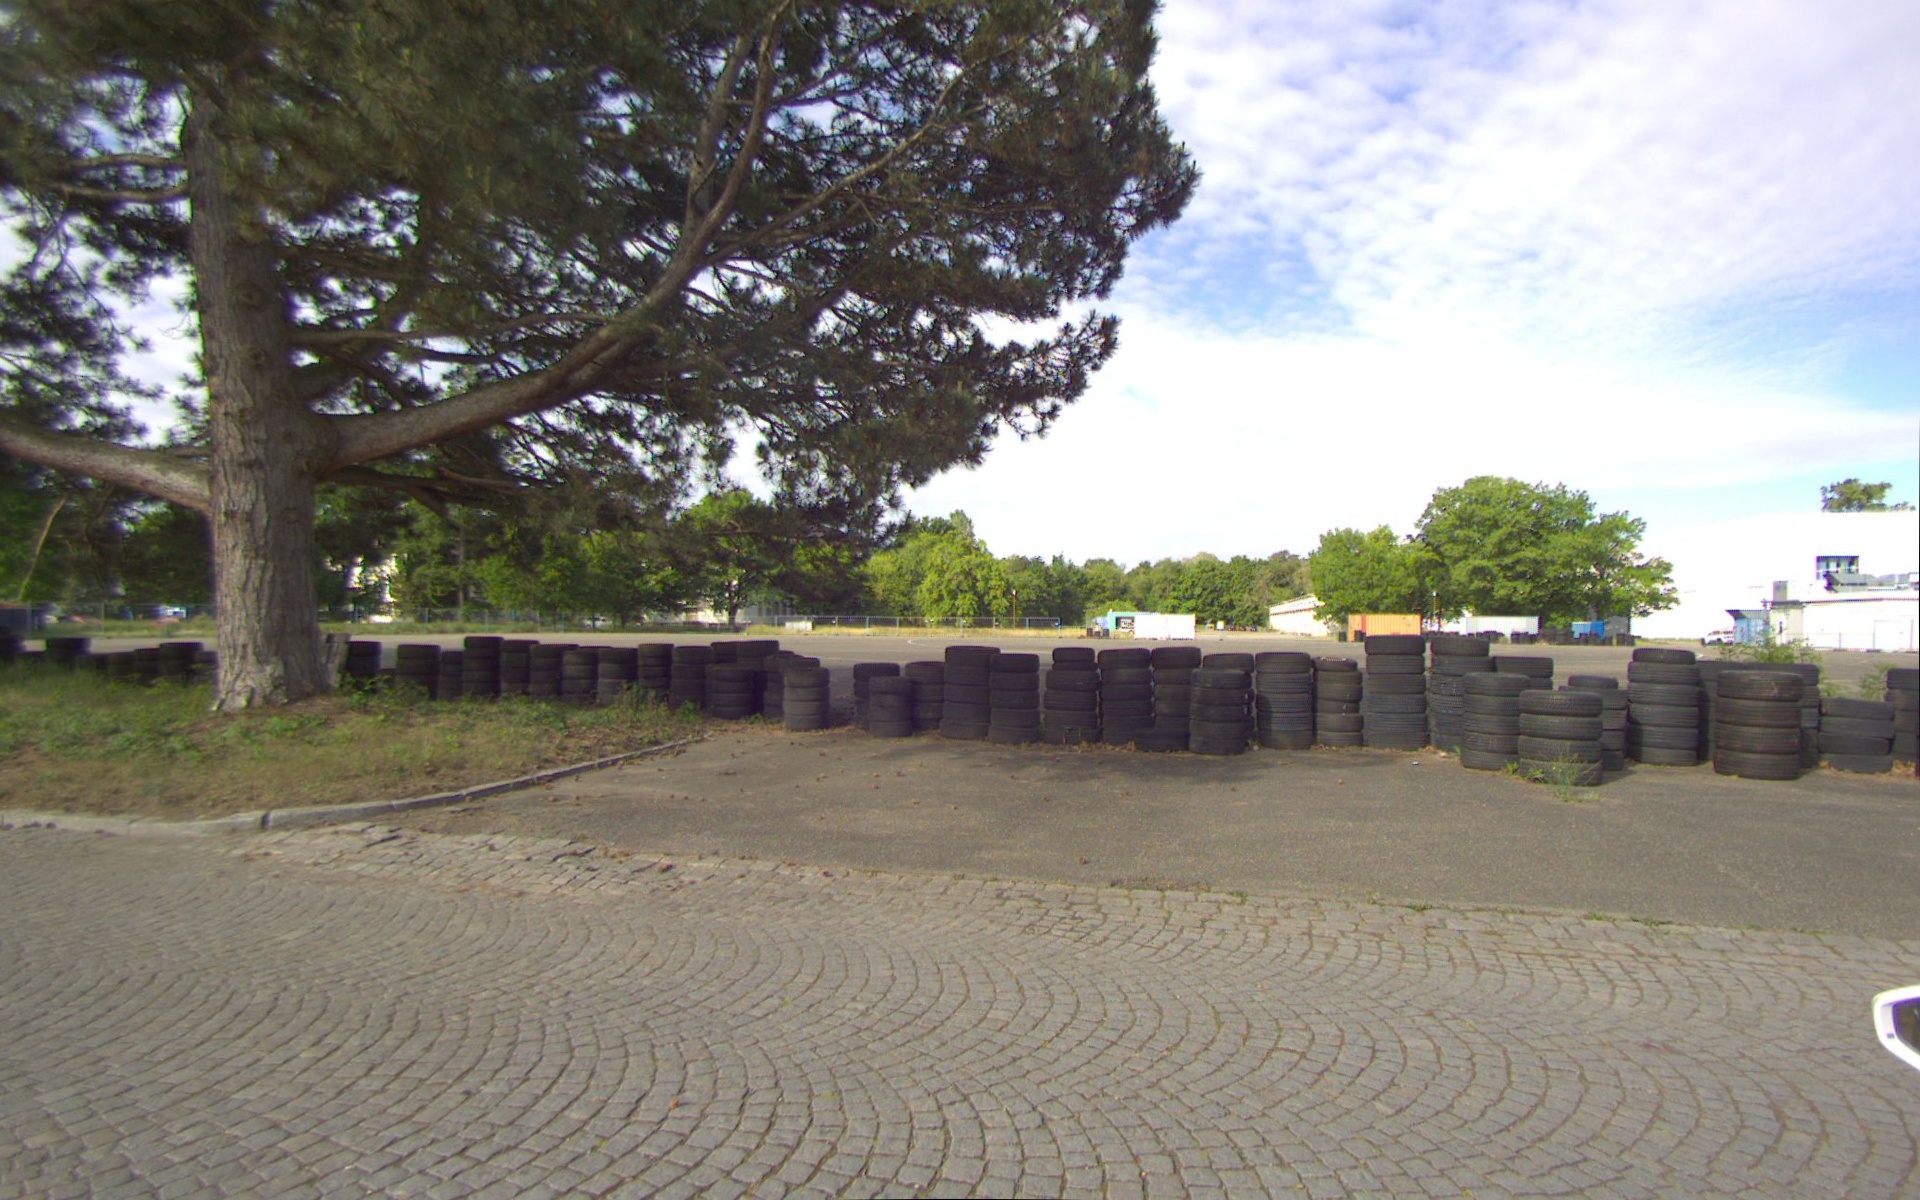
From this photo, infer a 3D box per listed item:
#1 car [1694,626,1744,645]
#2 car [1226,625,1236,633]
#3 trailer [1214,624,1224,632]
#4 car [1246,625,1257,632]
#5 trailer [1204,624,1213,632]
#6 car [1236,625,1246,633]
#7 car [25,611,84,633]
[{"bbox_3d":[69.672,3.240,92.319,1.837,1.585,4.551,0,-1,11],"label":"car"},{"bbox_3d":[65.569,6.956,242.860,1.959,1.773,4.003,0,-1,10],"label":"car"},{"bbox_3d":[63.188,6.856,245.101,2.023,2.040,4.003,0,-1,12],"label":"trailer"},{"bbox_3d":[70.217,6.839,241.977,1.959,1.773,4.003,0,-1,10],"label":"car"},{"bbox_3d":[61.124,6.837,246.956,1.959,2.040,4.003,0,-1,11],"label":"trailer"},{"bbox_3d":[67.784,6.933,242.538,1.996,1.832,4.003,0,-1,10],"label":"car"},{"bbox_3d":[-76.566,1.852,84.957,3.921,1.773,2.000,0,-1,19],"label":"car"}]
